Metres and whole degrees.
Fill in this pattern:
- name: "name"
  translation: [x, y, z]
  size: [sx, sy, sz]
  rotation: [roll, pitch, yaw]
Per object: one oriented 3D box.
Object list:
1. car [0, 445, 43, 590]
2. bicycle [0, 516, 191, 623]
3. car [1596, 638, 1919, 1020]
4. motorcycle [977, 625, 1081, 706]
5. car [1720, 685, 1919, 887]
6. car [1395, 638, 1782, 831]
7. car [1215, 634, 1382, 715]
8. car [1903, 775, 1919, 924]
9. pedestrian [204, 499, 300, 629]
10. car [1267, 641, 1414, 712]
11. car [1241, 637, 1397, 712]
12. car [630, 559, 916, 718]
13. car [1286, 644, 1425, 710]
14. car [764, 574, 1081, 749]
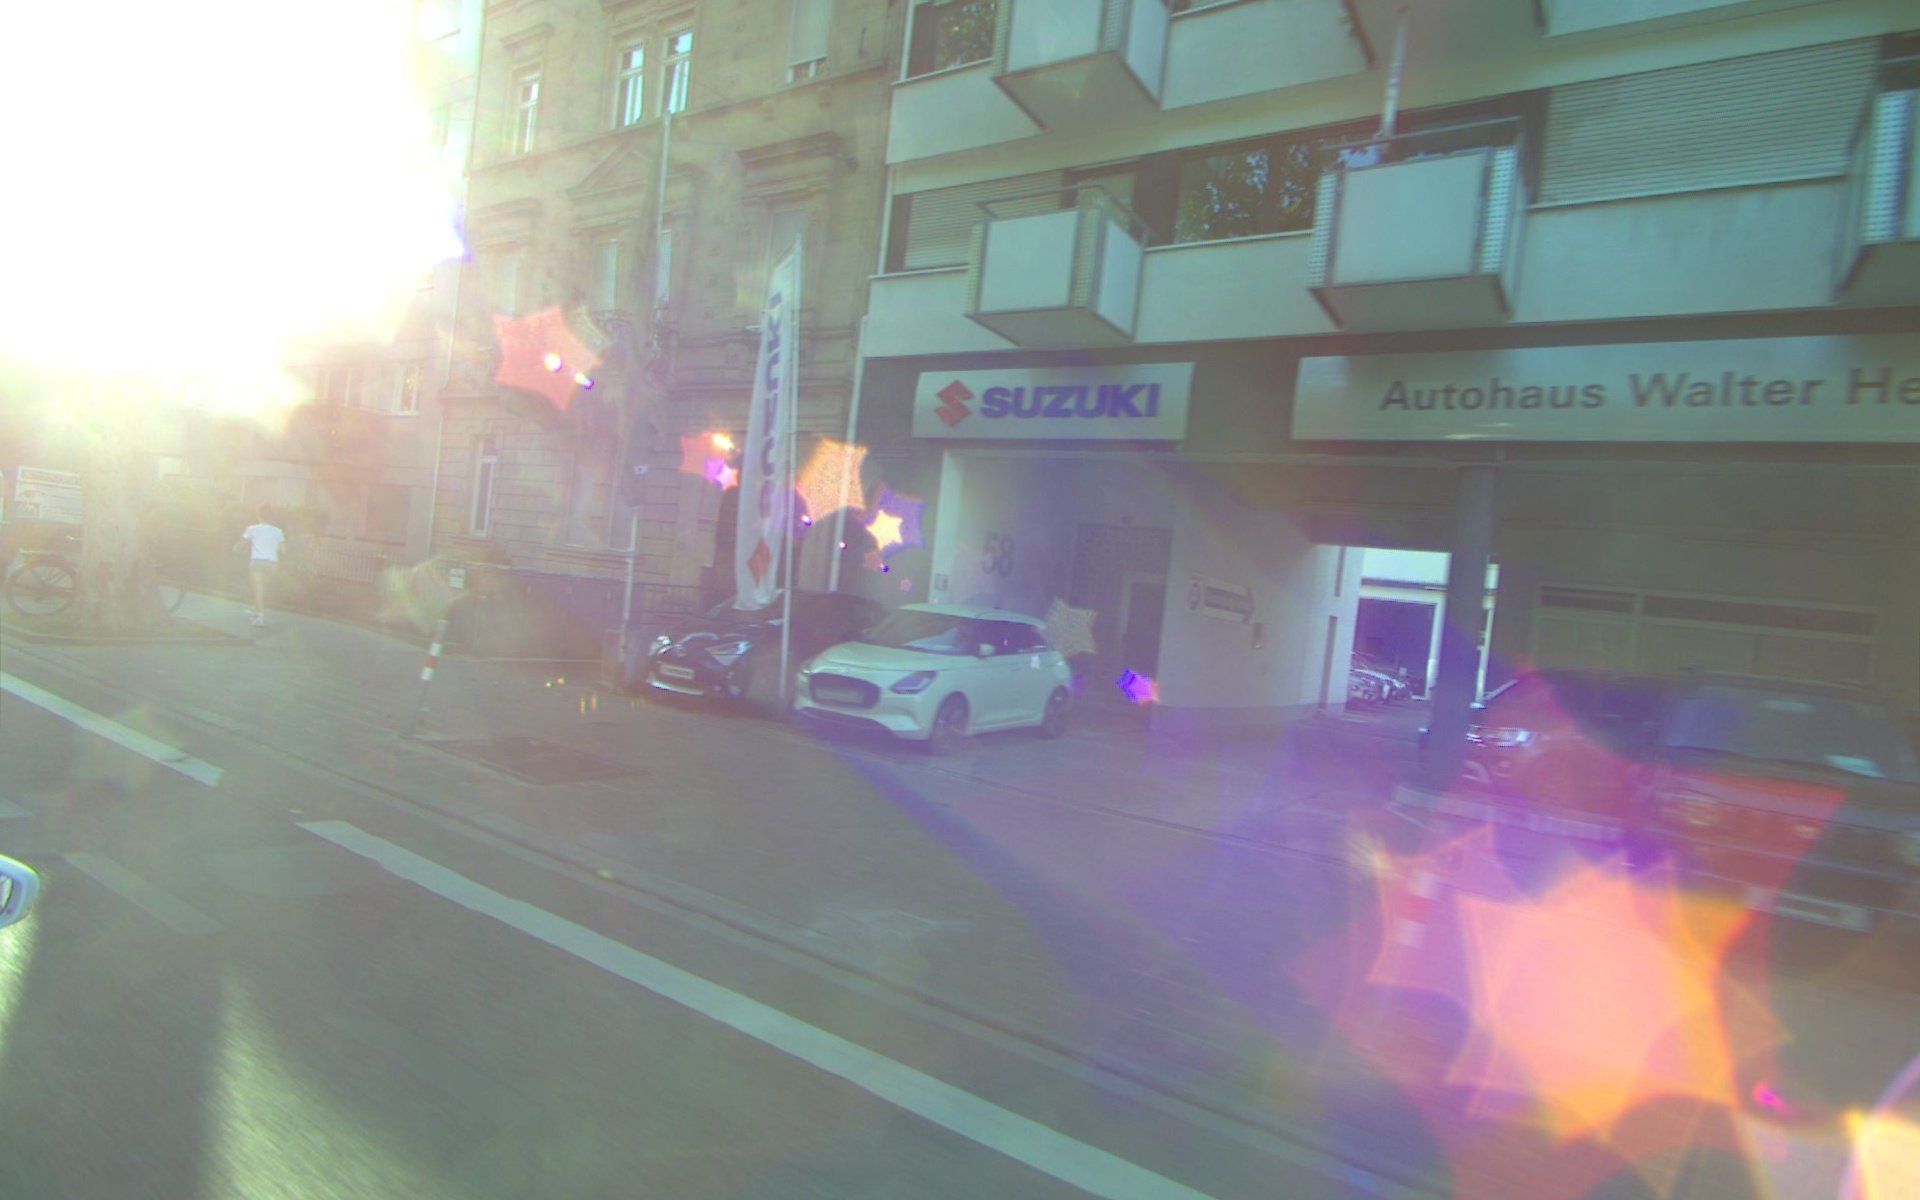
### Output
- name: "car"
  translation: [-17.862, -1.577, 17.090]
  size: [5.150, 2.285, 1.995]
  rotation: [6, 0, 33]
- name: "bicycle"
  translation: [-10.695, -0.336, 12.516]
  size: [0.342, 1.157, 1.851]
  rotation: [6, -1, 17]
- name: "car"
  translation: [5.490, 1.311, 6.807]
  size: [1.655, 1.741, 3.581]
  rotation: [8, 1, 35]
- name: "motorcycle"
  translation: [1.133, 1.051, 16.028]
  size: [0.728, 1.135, 1.931]
  rotation: [7, 0, 32]
- name: "car"
  translation: [9.700, 1.868, 9.891]
  size: [3.470, 1.583, 1.605]
  rotation: [7, 0, -14]
- name: "car"
  translation: [7.118, 1.502, 11.511]
  size: [3.543, 1.677, 1.613]
  rotation: [7, 0, -14]
- name: "car"
  translation: [9.246, 1.995, 27.576]
  size: [3.934, 1.638, 1.676]
  rotation: [7, 0, 32]
- name: "car"
  translation: [7.207, 1.605, 5.721]
  size: [1.828, 1.559, 3.823]
  rotation: [7, 0, 32]
- name: "pedestrian"
  translation: [-9.633, -0.487, 13.682]
  size: [0.908, 1.649, 0.663]
  rotation: [6, 0, 33]
- name: "car"
  translation: [12.032, 2.392, 31.860]
  size: [3.934, 1.638, 1.996]
  rotation: [7, 0, 32]
- name: "car"
  translation: [10.572, 2.159, 29.665]
  size: [3.934, 1.638, 1.676]
  rotation: [7, 0, 32]
- name: "car"
  translation: [-2.132, 0.504, 12.288]
  size: [1.418, 1.565, 3.423]
  rotation: [6, -1, 31]
- name: "car"
  translation: [13.312, 2.565, 33.856]
  size: [3.934, 1.638, 1.996]
  rotation: [7, 0, 32]
- name: "car"
  translation: [-0.282, 0.692, 11.278]
  size: [1.730, 1.537, 3.419]
  rotation: [6, -1, 35]
